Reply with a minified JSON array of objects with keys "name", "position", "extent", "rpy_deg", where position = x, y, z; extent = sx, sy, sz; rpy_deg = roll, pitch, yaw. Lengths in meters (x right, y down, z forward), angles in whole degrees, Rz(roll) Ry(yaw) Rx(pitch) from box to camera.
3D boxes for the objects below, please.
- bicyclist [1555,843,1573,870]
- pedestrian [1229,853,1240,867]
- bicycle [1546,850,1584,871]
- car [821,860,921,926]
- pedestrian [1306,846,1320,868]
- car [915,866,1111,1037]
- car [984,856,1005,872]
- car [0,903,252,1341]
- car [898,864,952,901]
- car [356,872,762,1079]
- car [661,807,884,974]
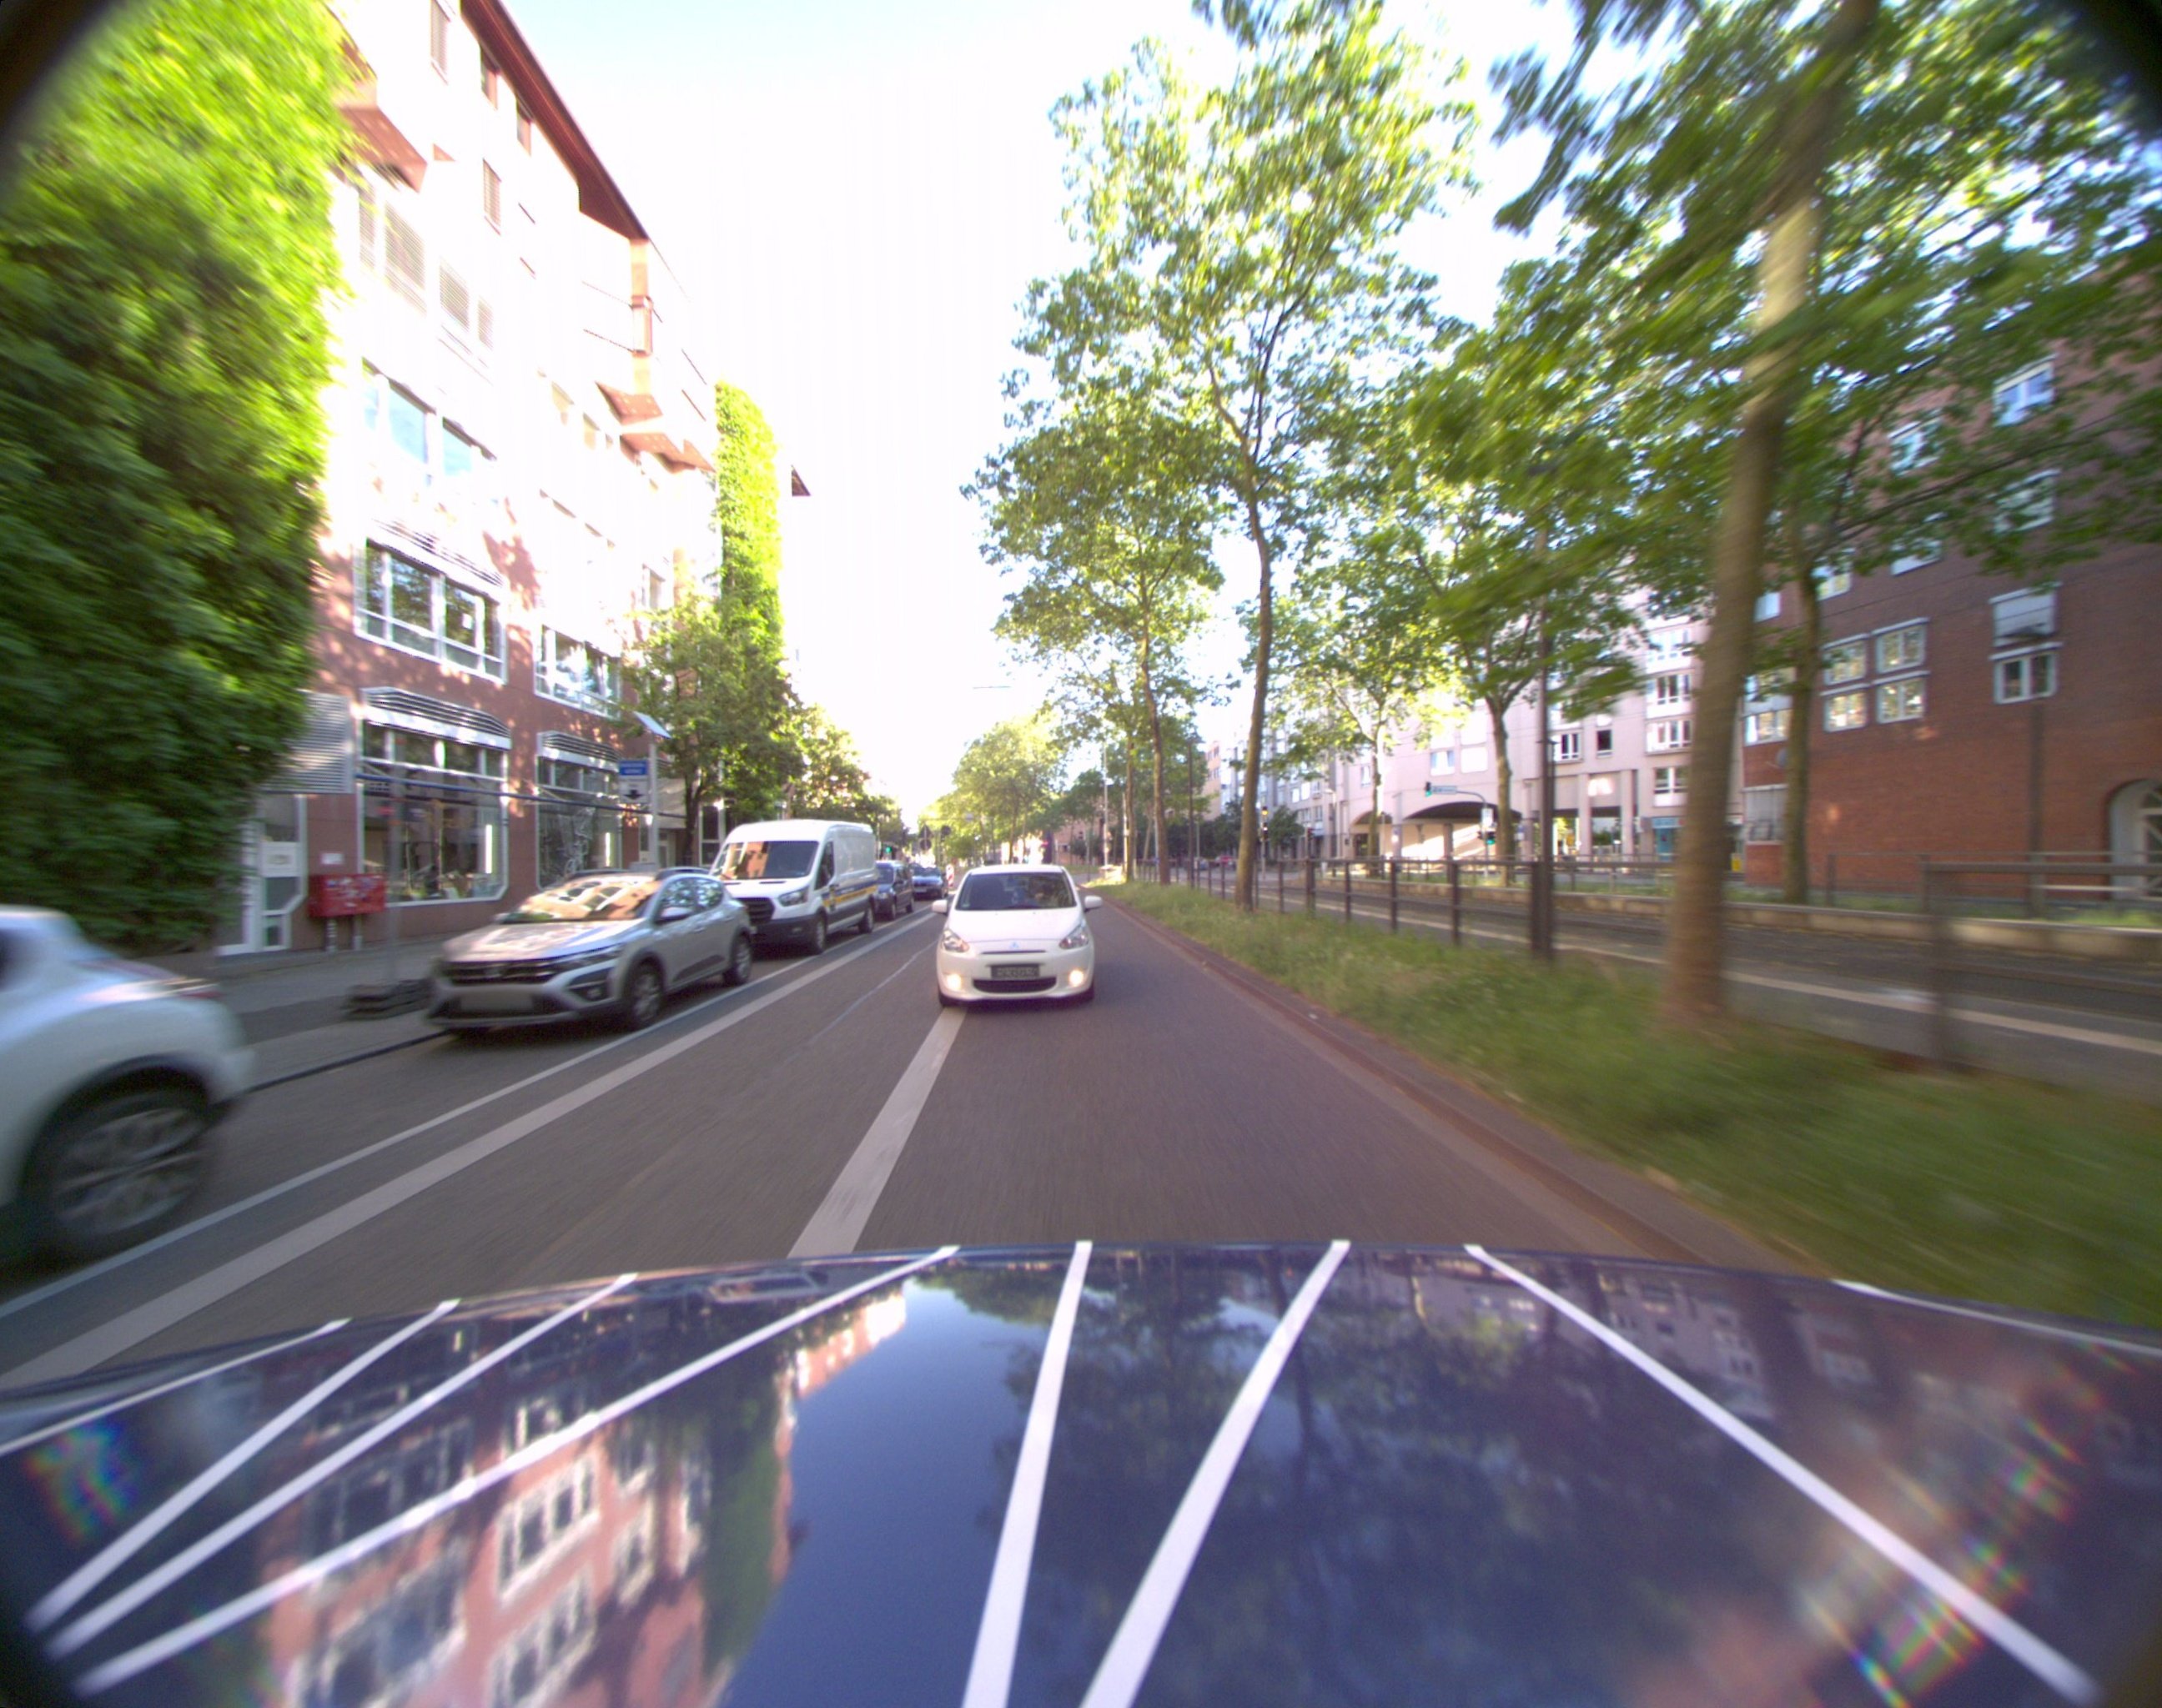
[{"name":"bicyclist","position":[30.068,0.184,47.332],"extent":[0.720,1.639,0.667],"rpy_deg":[-3,2,-33]},{"name":"pedestrian","position":[17.214,0.678,85.164],"extent":[1.006,1.592,0.876],"rpy_deg":[-3,1,2]},{"name":"bicycle","position":[30.114,0.433,47.295],"extent":[0.775,1.254,1.814],"rpy_deg":[-3,1,-34]},{"name":"car","position":[-5.827,1.014,21.610],"extent":[1.809,1.617,4.474],"rpy_deg":[-1,0,-4]},{"name":"pedestrian","position":[22.062,0.274,72.218],"extent":[1.006,2.002,0.876],"rpy_deg":[-3,1,4]},{"name":"car","position":[-0.860,0.939,9.256],"extent":[1.809,1.492,4.198],"rpy_deg":[-1,0,-6]},{"name":"car","position":[-9.445,1.089,82.871],"extent":[1.999,1.524,3.998],"rpy_deg":[-3,1,-4]},{"name":"car","position":[-4.882,1.044,1.668],"extent":[1.833,1.570,3.998],"rpy_deg":[-1,0,-4]},{"name":"car","position":[-6.346,1.125,31.338],"extent":[1.809,1.323,3.989],"rpy_deg":[-1,0,-6]},{"name":"car","position":[-5.182,1.057,8.340],"extent":[1.833,1.570,3.998],"rpy_deg":[-1,0,-4]},{"name":"car","position":[-5.564,0.565,14.784],"extent":[2.121,2.550,5.903],"rpy_deg":[-1,0,-3]}]
